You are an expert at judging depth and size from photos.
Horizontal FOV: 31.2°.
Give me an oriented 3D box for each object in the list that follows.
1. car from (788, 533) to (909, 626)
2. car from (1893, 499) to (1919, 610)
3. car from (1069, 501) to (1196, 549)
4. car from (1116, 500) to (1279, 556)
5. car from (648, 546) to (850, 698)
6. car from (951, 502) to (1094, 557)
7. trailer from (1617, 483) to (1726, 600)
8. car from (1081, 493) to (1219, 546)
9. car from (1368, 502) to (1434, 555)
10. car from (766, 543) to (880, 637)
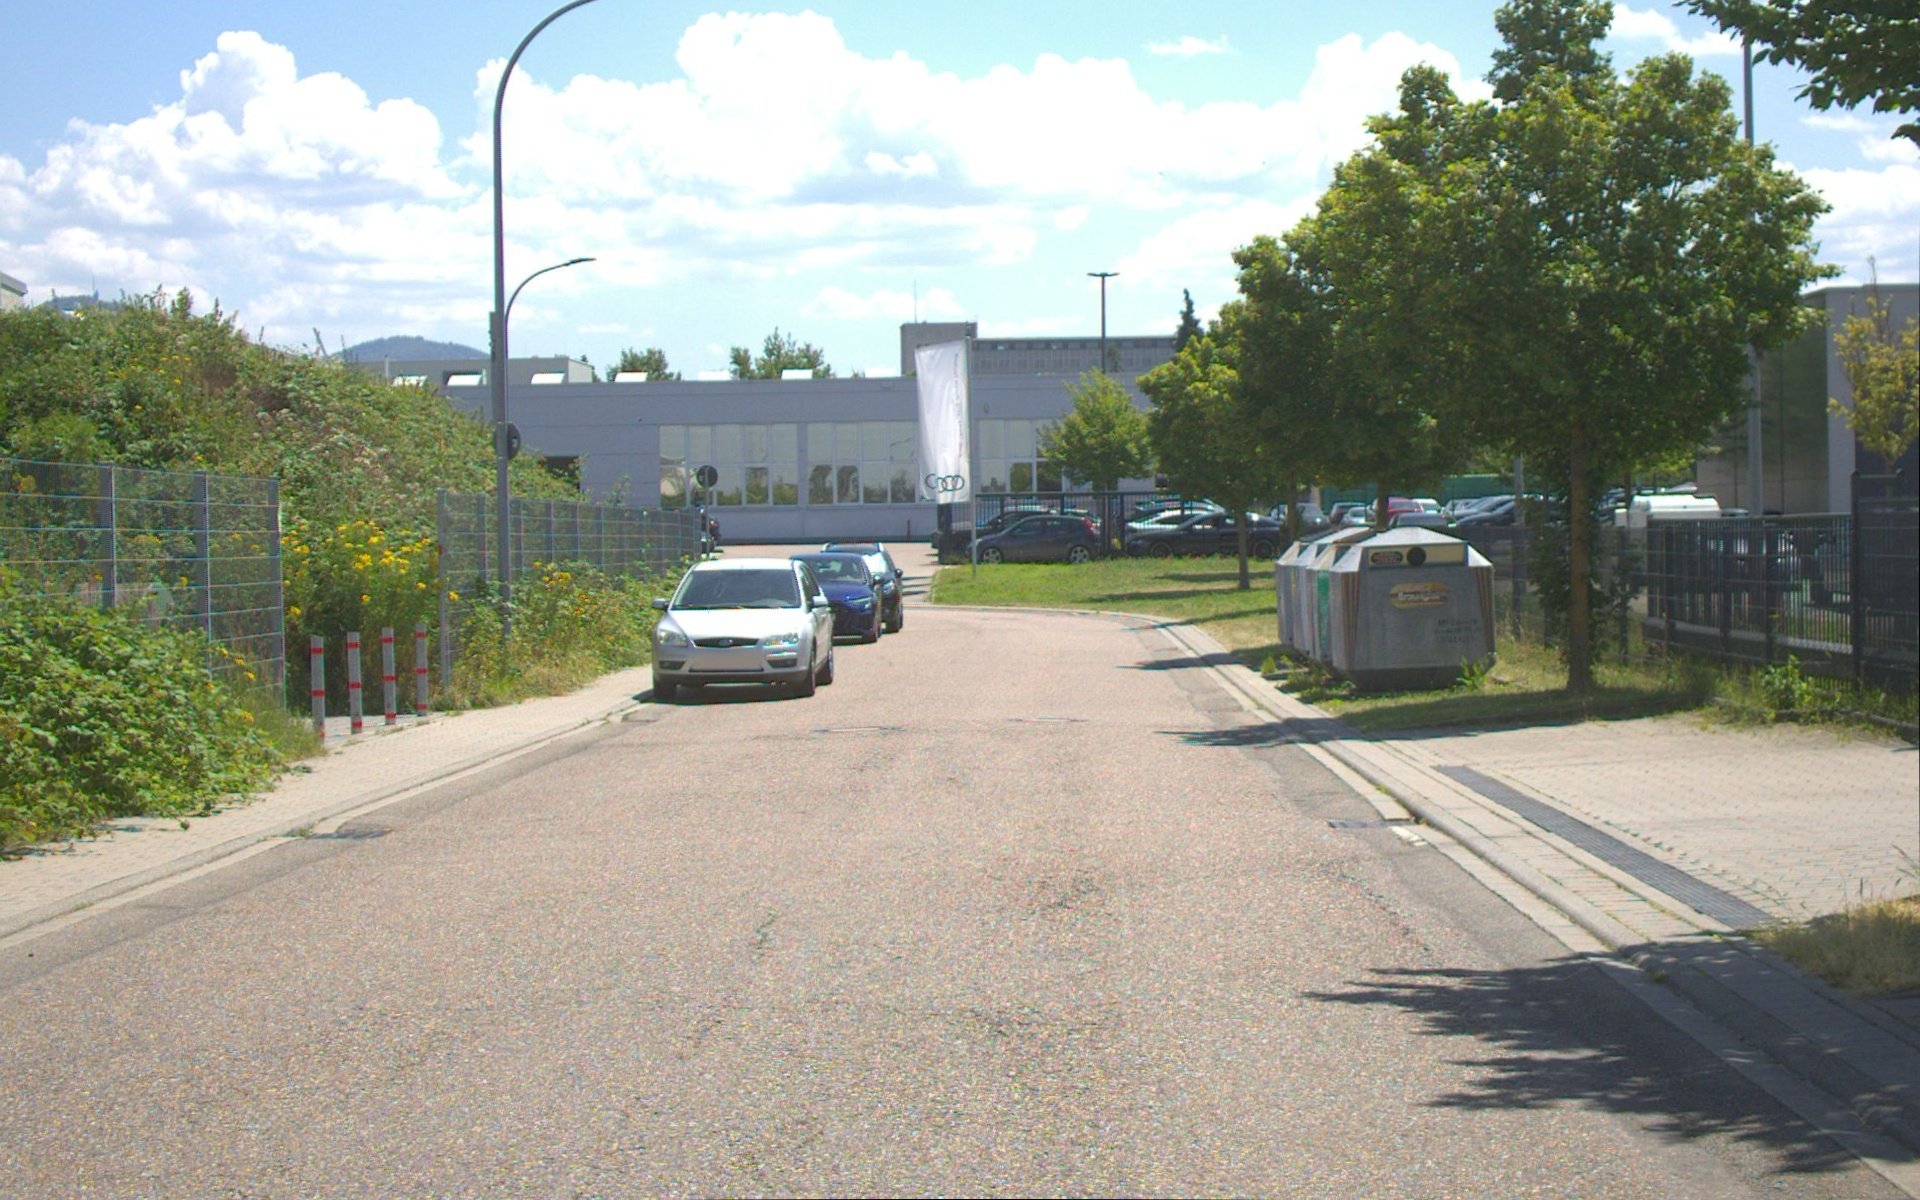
[{"bbox_3d":[-1.947,-0.396,61.160,1.834,1.541,4.264,-2,1,2],"label":"car"},{"bbox_3d":[13.313,-0.631,43.549,1.789,1.428,4.143,-2,-1,-1],"label":"car"},{"bbox_3d":[5.592,-2.432,111.622,3.987,1.393,2.000,-2,-1,0],"label":"car"},{"bbox_3d":[6.725,-2.034,97.701,4.438,1.393,2.000,-2,-1,0],"label":"car"},{"bbox_3d":[-2.322,0.205,38.843,1.834,1.541,4.367,-2,1,2],"label":"car"},{"bbox_3d":[1.769,-2.008,97.933,3.987,1.393,2.000,-2,-1,0],"label":"car"},{"bbox_3d":[13.425,-1.129,64.982,1.493,1.999,3.264,-2,4,3],"label":"trailer"},{"bbox_3d":[5.669,-2.391,102.832,3.987,1.393,2.000,-2,-1,0],"label":"car"},{"bbox_3d":[16.600,-2.684,129.503,1.993,1.821,4.000,-2,-1,1],"label":"car"},{"bbox_3d":[-2.190,-0.187,55.740,1.656,1.412,4.146,-2,1,0],"label":"car"}]
